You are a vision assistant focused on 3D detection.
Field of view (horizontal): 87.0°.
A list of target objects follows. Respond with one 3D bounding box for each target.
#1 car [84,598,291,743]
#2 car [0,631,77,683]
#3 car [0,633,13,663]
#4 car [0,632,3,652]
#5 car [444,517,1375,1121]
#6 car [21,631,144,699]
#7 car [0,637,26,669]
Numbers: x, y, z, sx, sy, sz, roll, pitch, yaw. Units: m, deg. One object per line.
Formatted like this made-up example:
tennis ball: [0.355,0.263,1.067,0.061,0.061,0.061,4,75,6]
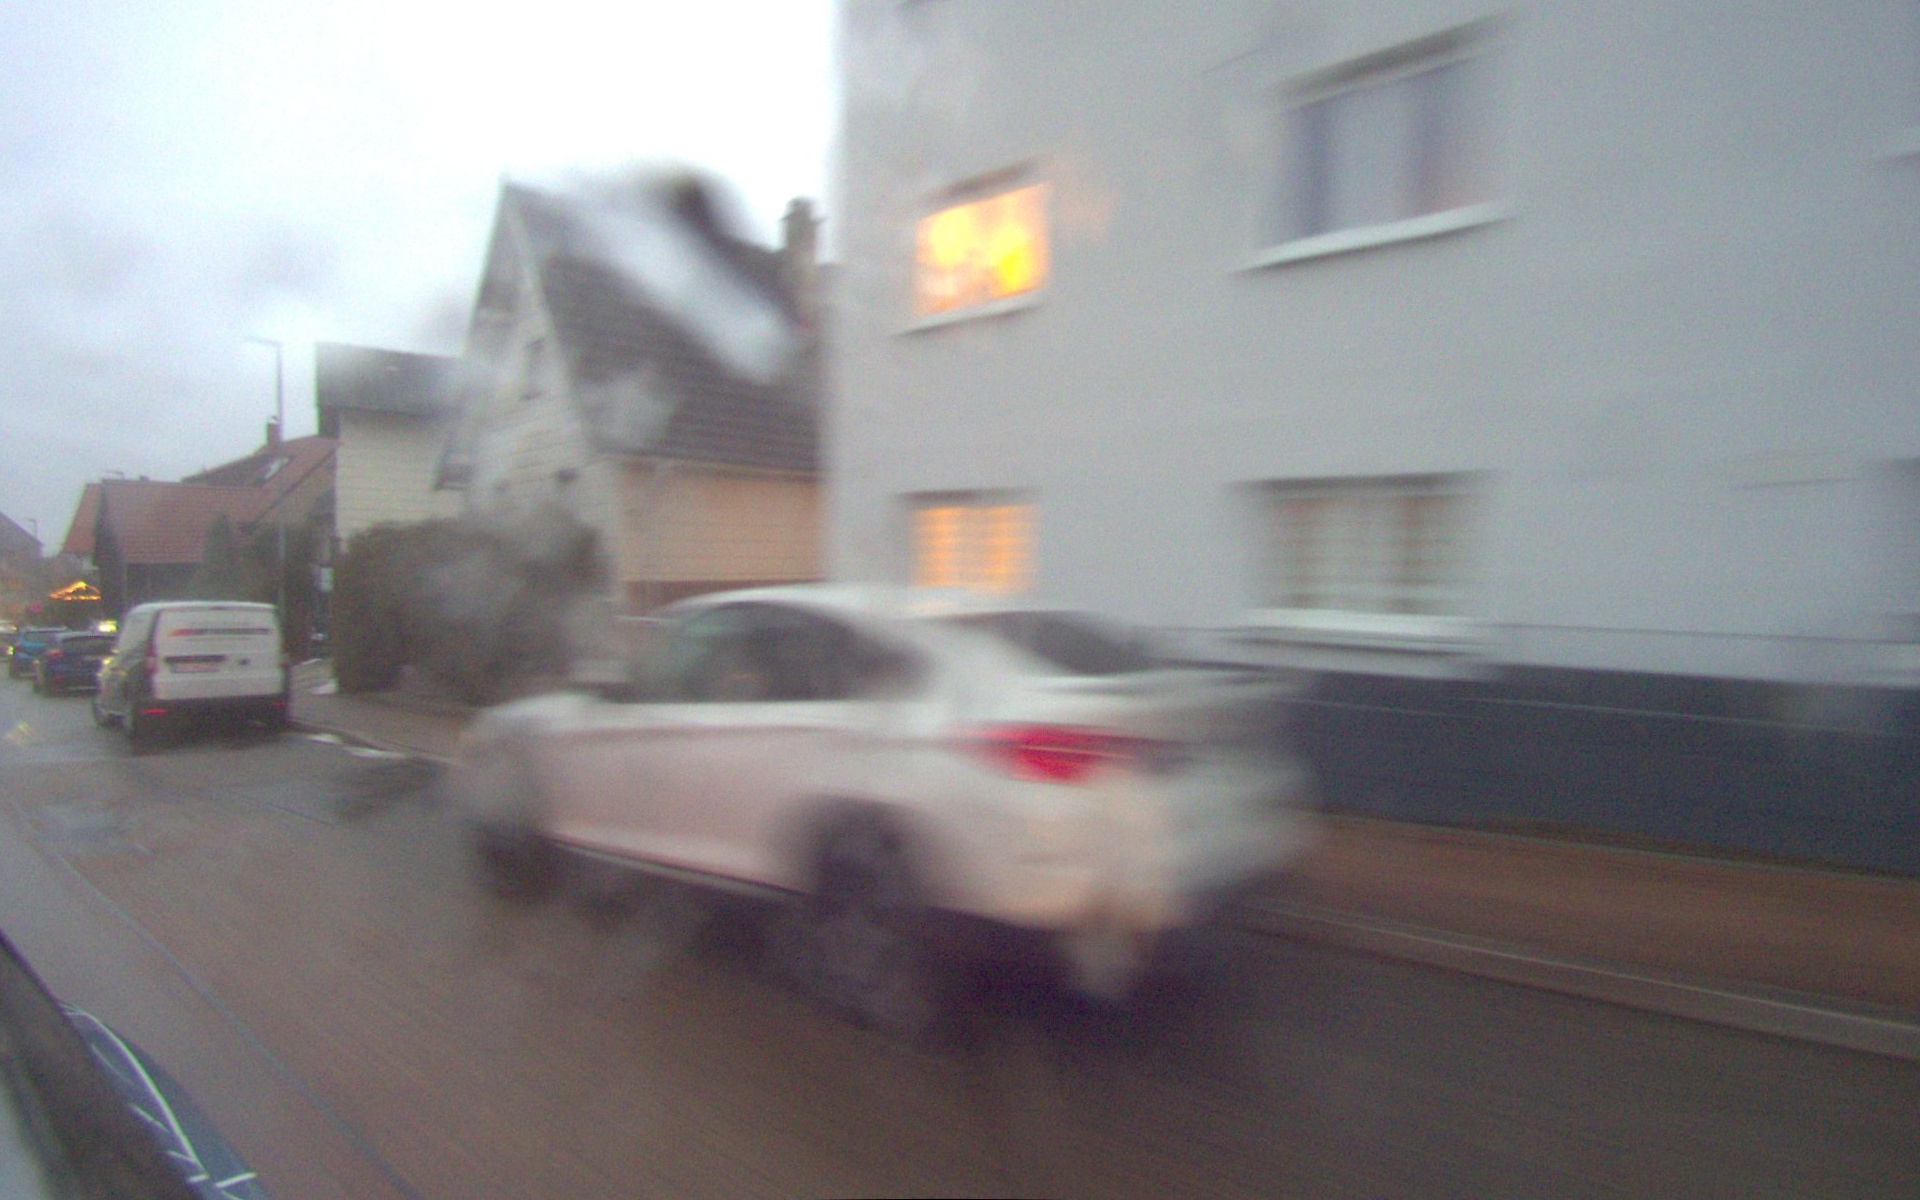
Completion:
car: [-11.288,0.940,14.689,4.128,1.806,1.752,-2,-2,43]
car: [-29.544,1.769,32.257,4.001,1.564,1.743,-2,-3,44]
car: [-54.745,2.682,56.988,3.729,1.638,1.698,-1,-1,41]
car: [-87.293,3.776,90.784,1.767,1.787,3.896,0,-1,-38]
car: [-0.566,0.631,4.915,4.419,1.636,1.899,-1,-1,40]
car: [-20.991,1.493,24.171,4.000,1.477,1.805,-2,-3,43]
car: [-45.701,2.485,47.964,3.729,1.422,1.698,-1,-1,41]
